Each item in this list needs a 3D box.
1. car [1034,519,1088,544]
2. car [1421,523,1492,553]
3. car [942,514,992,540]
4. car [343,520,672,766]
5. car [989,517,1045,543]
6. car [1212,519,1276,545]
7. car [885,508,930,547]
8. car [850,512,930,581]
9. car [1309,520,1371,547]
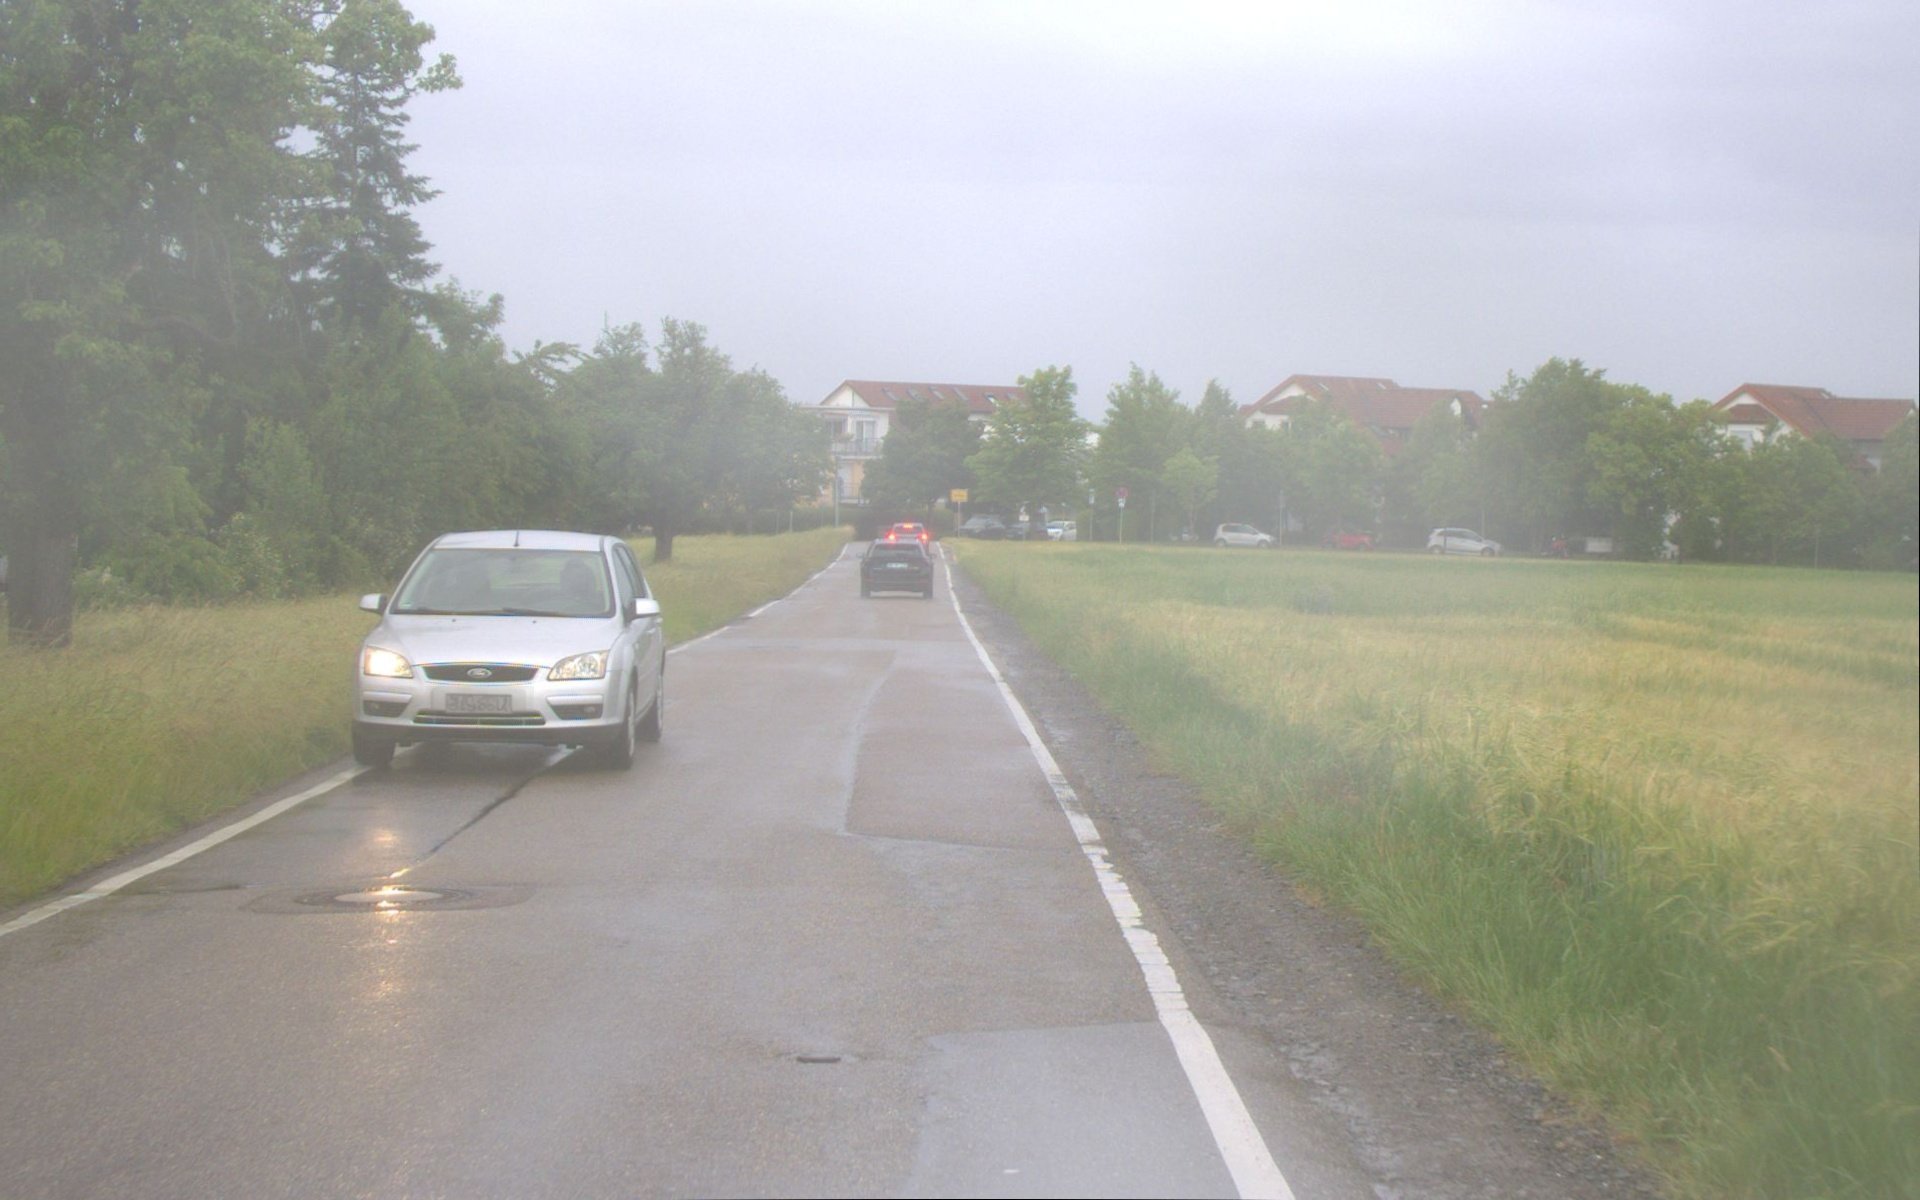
[{"bbox_3d":[6.764,-4.594,229.602,1.664,1.541,3.992,1,0,35],"label":"car"},{"bbox_3d":[27.235,-3.380,188.674,3.711,1.558,1.609,1,0,13],"label":"car"},{"bbox_3d":[0.472,-4.648,219.328,1.663,1.541,3.995,1,0,24],"label":"car"},{"bbox_3d":[-2.933,0.253,23.059,1.739,1.466,4.123,1,0,-2],"label":"car"},{"bbox_3d":[3.758,-4.584,225.339,1.664,1.541,3.992,1,0,35],"label":"car"},{"bbox_3d":[15.818,-3.772,191.455,3.392,1.366,1.547,1,0,13],"label":"car"},{"bbox_3d":[-2.267,-3.126,149.151,1.814,1.588,4.000,1,0,0],"label":"car"},{"bbox_3d":[-1.684,-1.291,84.250,1.814,1.588,4.000,1,0,0],"label":"car"},{"bbox_3d":[21.030,-3.677,190.224,3.194,1.366,1.571,1,0,13],"label":"car"}]
